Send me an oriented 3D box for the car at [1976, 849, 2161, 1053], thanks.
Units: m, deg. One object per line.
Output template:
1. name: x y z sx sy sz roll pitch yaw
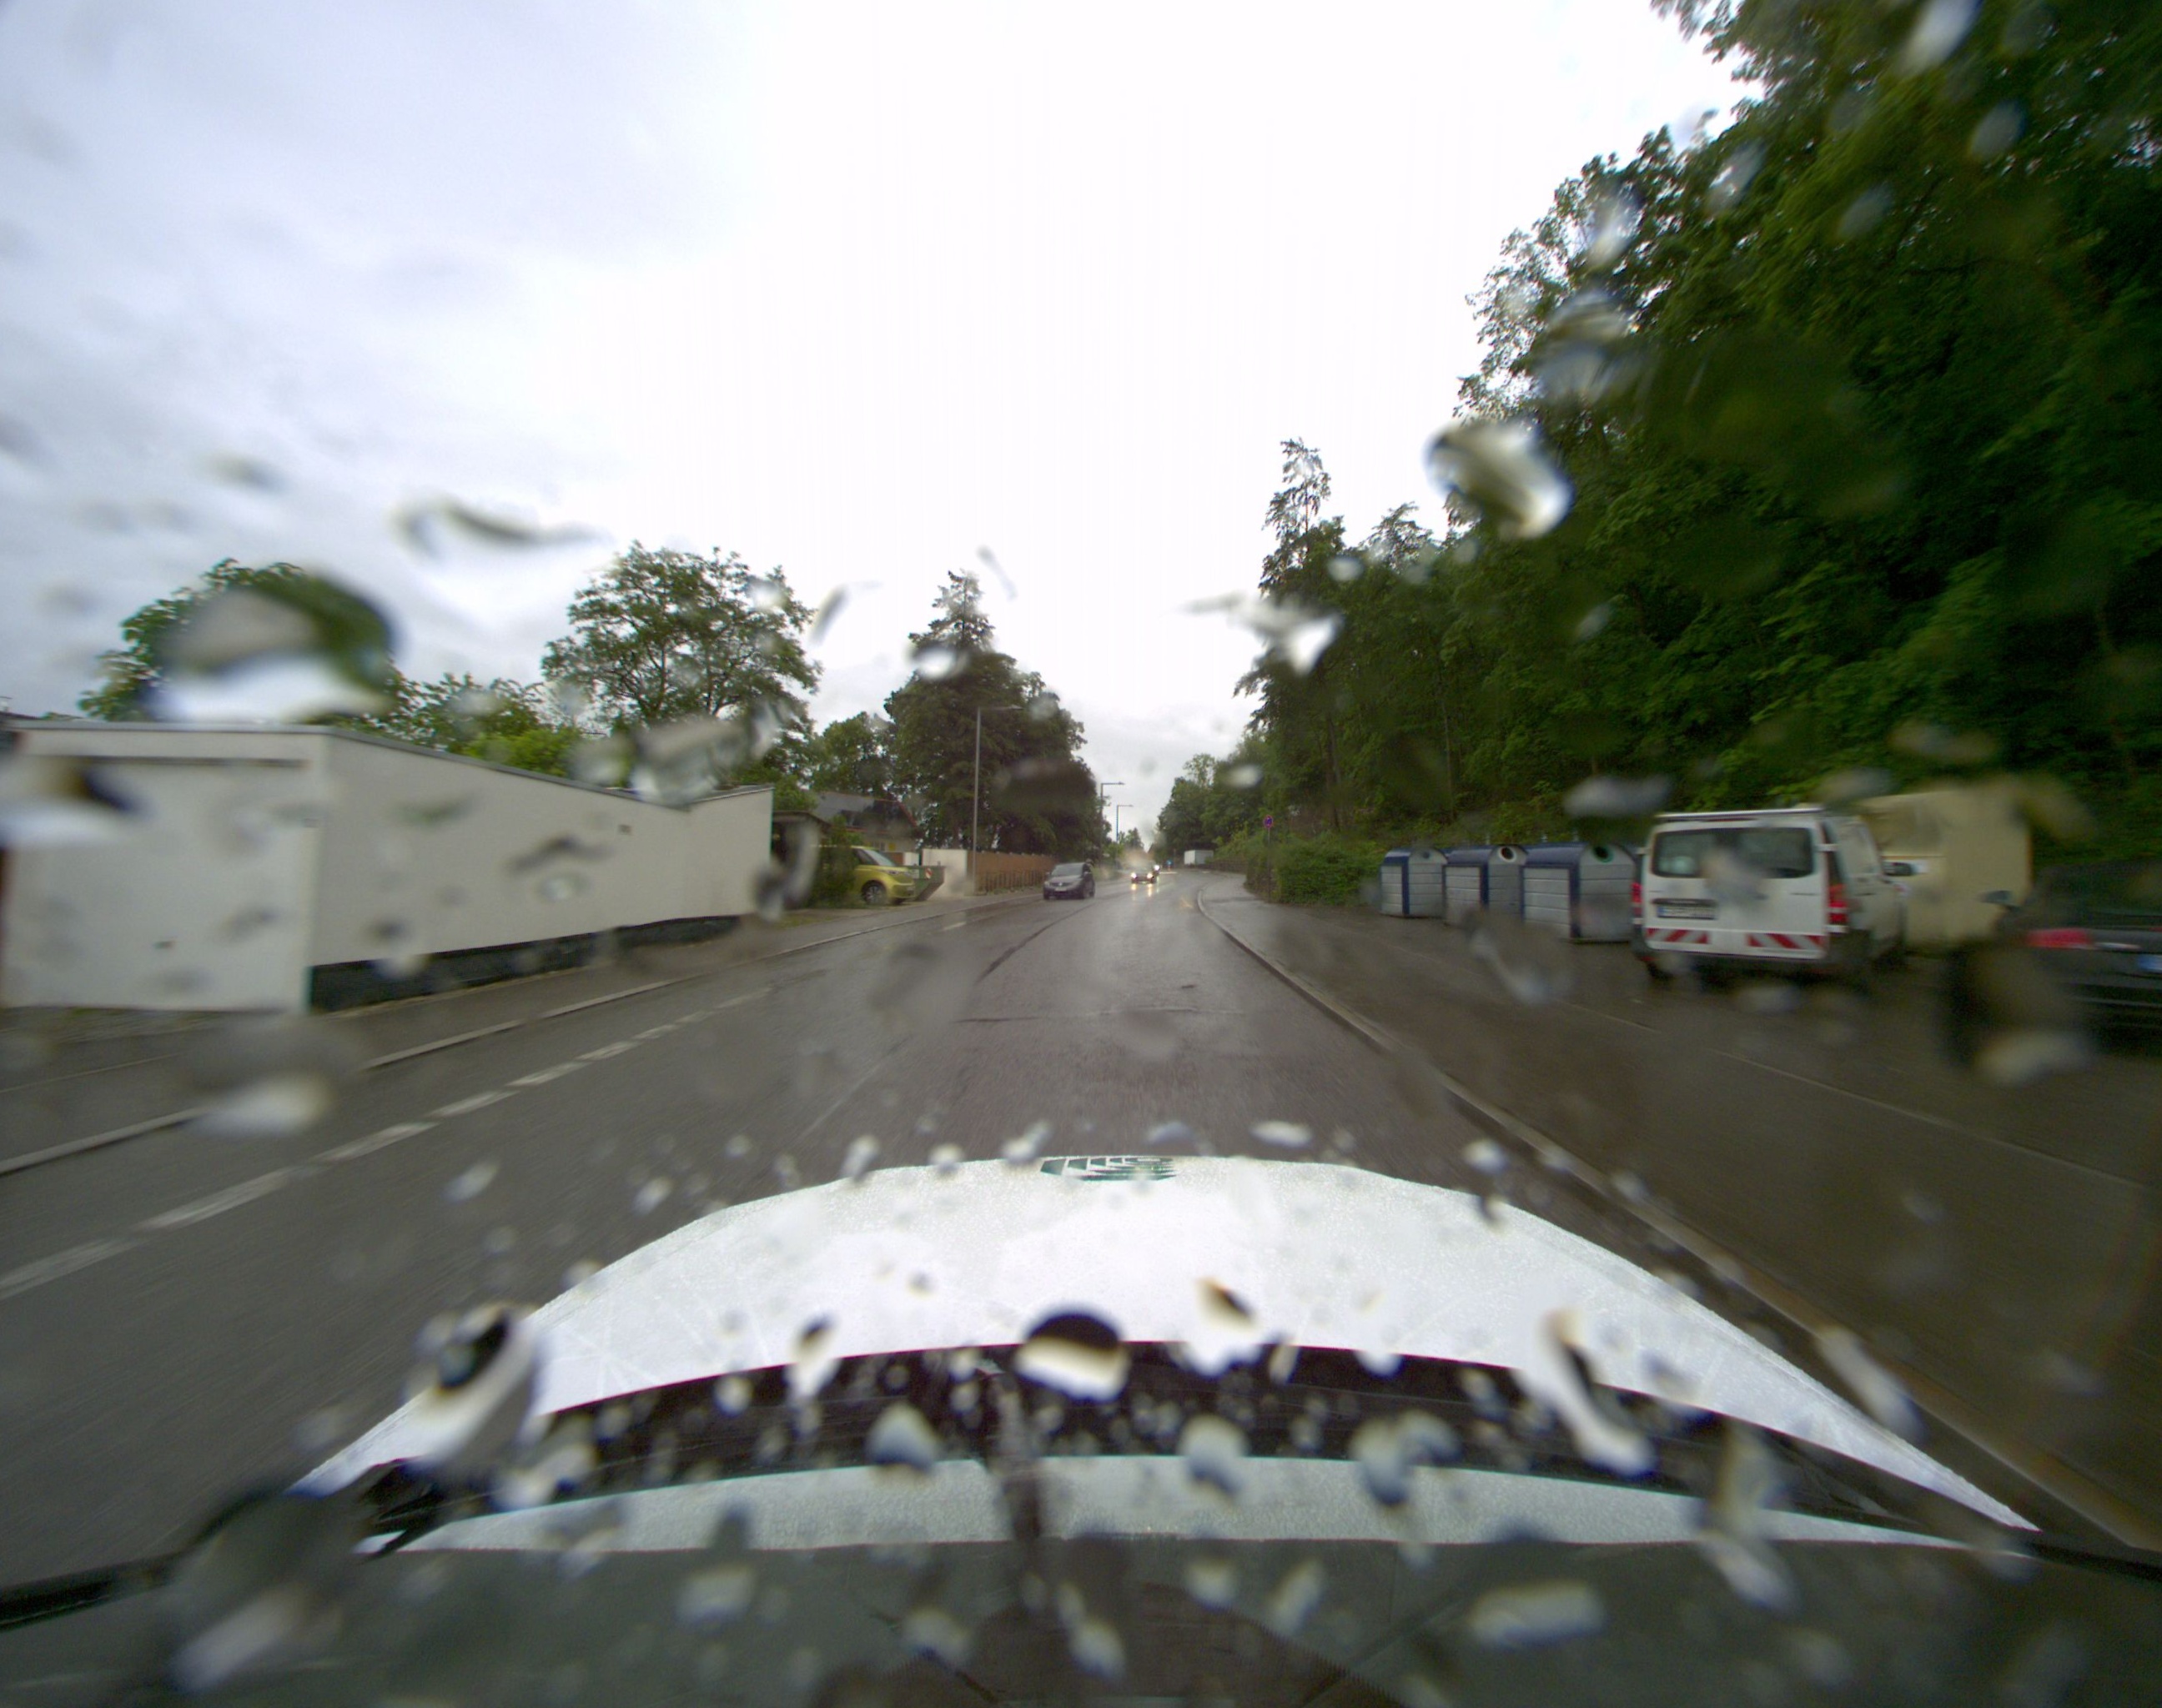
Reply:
1. car: 8.637 0.636 6.645 3.816 1.348 1.741 0 0 -42

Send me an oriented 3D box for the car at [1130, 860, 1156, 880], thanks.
1. car: 4.909 1.222 64.190 1.824 1.511 4.177 0 -1 7

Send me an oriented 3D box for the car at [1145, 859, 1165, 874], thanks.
1. car: 8.465 1.403 92.798 1.907 1.648 4.557 -1 -1 9

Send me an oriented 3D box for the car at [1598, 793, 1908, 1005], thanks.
1. car: 8.293 0.408 9.870 4.868 1.940 2.131 0 0 -41

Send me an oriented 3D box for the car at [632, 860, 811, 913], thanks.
1. car: -9.610 0.842 21.993 3.980 1.303 1.792 -1 0 1

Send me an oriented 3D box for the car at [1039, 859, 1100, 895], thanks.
1. car: -0.409 0.969 35.927 1.823 1.511 4.630 0 -1 10

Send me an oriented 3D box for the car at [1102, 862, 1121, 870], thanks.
1. car: 6.897 2.638 184.619 2.024 1.632 3.954 4 -2 -40

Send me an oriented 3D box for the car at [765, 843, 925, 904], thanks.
1. car: -7.552 0.613 26.278 4.476 1.860 2.094 0 0 9
